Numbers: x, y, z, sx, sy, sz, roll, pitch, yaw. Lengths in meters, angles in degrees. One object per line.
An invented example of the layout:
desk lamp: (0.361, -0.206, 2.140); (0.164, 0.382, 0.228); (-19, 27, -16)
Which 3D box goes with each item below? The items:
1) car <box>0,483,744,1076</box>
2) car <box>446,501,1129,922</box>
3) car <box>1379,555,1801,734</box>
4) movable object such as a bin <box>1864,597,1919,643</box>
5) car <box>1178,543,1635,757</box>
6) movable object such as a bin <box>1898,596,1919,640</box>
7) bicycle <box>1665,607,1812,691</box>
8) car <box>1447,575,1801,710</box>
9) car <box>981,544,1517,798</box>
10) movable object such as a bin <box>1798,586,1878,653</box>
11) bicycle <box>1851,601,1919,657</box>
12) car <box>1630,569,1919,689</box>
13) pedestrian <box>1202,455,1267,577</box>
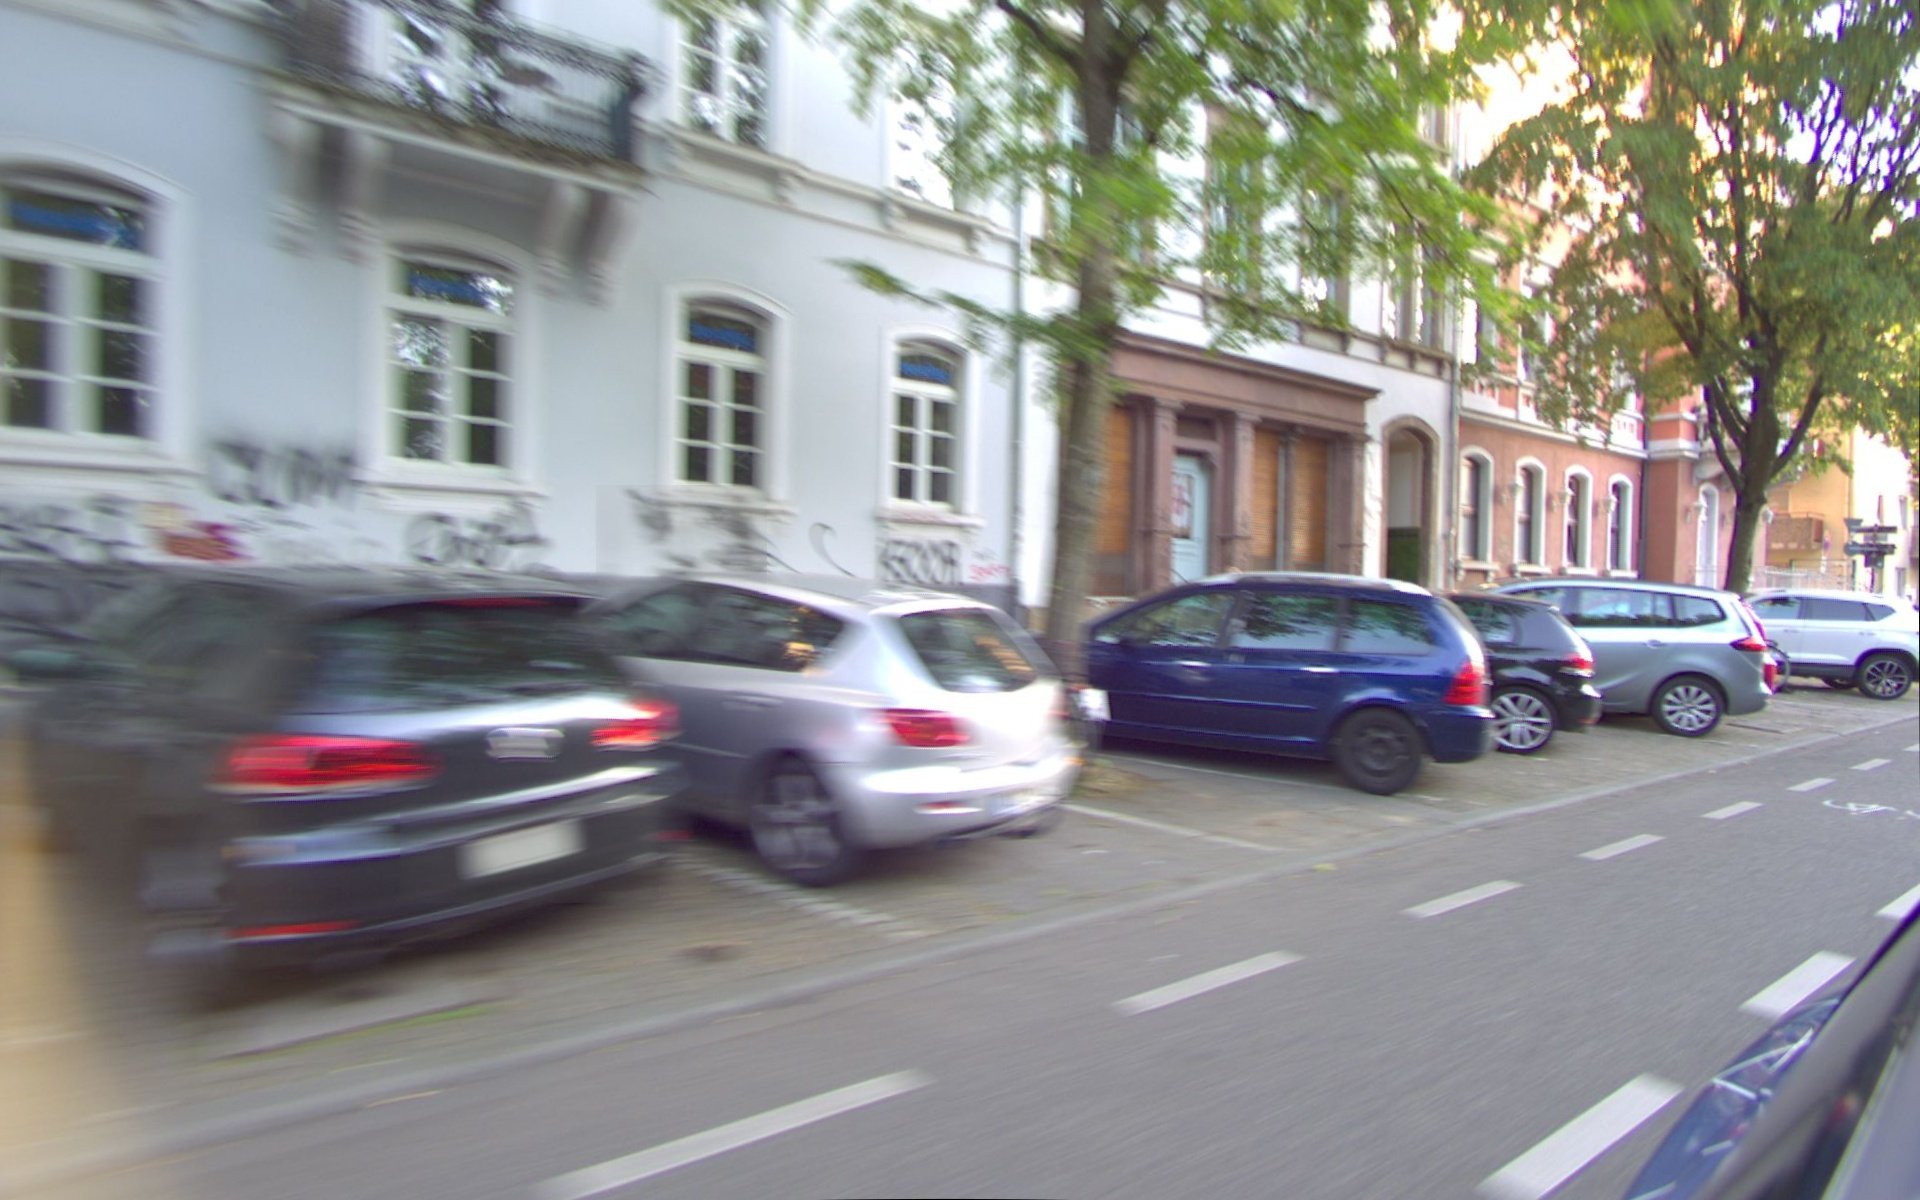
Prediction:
car: (-2.988, 0.383, 4.731); (3.938, 1.623, 1.814); (4, 3, 40)
car: (-1.205, 0.355, 6.161); (3.934, 1.622, 1.817); (7, 4, 36)
car: (7.218, 0.403, 12.144); (3.910, 1.688, 1.888); (4, 3, 22)
movable object such as a bin: (31.861, 0.664, 34.596); (1.568, 1.521, 1.144); (1, 0, -36)
car: (4.459, 0.375, 10.562); (3.914, 1.622, 1.733); (6, 4, 24)
movable object such as a bin: (33.767, 0.633, 35.479); (1.294, 1.521, 1.075); (1, 0, -38)
bicycle: (11.807, 0.717, 15.402); (1.657, 1.088, 0.458); (5, 2, 31)
car: (9.161, 0.516, 14.422); (3.916, 1.495, 1.814); (4, 2, 26)
car: (2.346, 0.421, 8.604); (3.911, 1.623, 1.827); (3, 3, 23)
movable object such as a bin: (20.822, 0.444, 24.001); (1.372, 1.521, 1.144); (1, 0, -36)
bicycle: (22.705, 0.695, 24.254); (1.895, 1.282, 0.597); (2, 1, 20)
car: (13.613, 0.428, 16.723); (3.913, 1.647, 1.660); (4, 2, 24)
pedestrian: (3.792, -1.136, 13.982); (0.613, 1.629, 0.588); (1, 0, -35)
